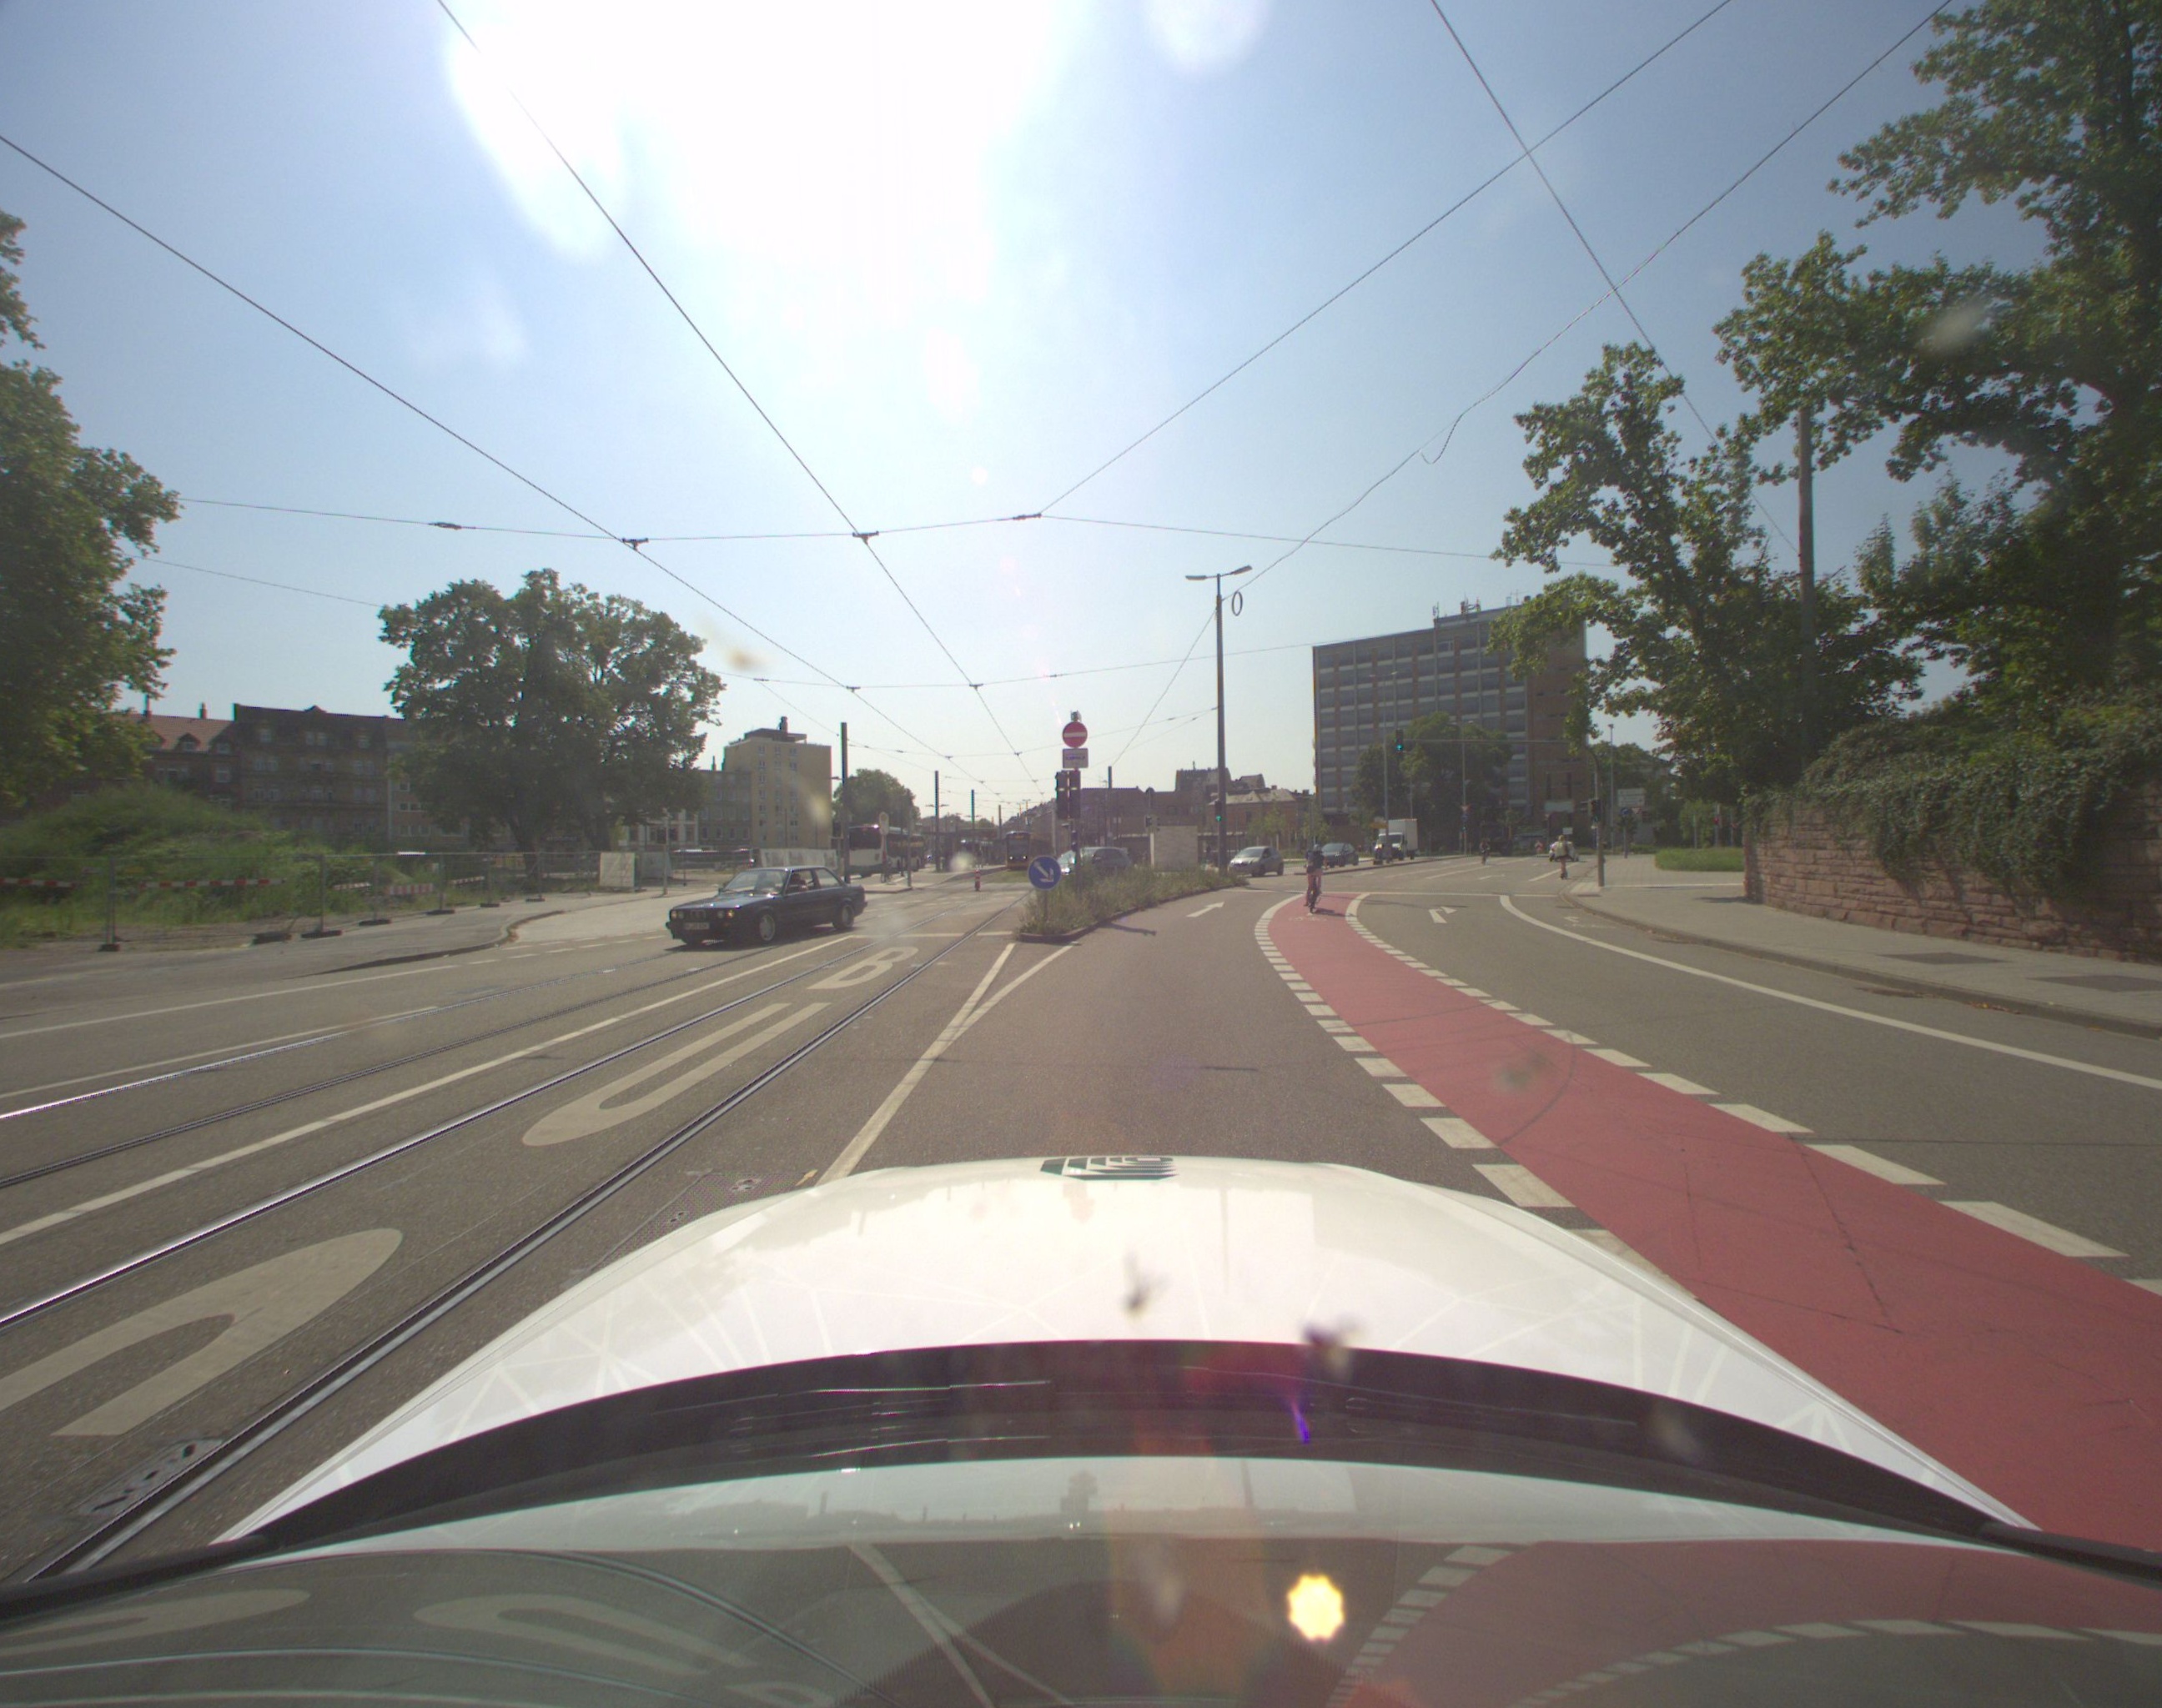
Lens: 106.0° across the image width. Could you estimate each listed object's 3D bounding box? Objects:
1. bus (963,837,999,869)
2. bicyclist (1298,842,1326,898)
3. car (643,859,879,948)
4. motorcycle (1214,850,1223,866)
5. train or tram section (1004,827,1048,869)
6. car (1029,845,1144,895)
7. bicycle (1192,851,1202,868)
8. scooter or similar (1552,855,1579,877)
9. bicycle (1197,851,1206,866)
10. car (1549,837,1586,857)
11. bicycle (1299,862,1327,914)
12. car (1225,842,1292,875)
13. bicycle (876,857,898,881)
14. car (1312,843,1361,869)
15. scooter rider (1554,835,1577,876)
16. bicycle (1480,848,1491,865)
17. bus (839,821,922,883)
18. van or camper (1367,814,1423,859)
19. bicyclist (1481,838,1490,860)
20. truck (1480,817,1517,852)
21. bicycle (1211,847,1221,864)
[{"bbox_3d":[-12.280,-0.158,100.924,2.699,3.727,10.424,-1,0,2],"label":"bus"},{"bbox_3d":[5.652,0.381,19.905,0.598,1.335,0.663,-1,0,17],"label":"bicyclist"},{"bbox_3d":[-5.851,0.831,15.619,1.675,1.378,4.638,-1,0,16],"label":"car"},{"bbox_3d":[11.064,0.330,65.510,0.600,1.210,2.261,-1,0,11],"label":"motorcycle"},{"bbox_3d":[-5.058,-0.502,78.348,2.847,3.548,17.741,-1,0,0],"label":"train or tram section"},{"bbox_3d":[0.313,0.514,29.157,1.754,1.610,4.703,-1,0,34],"label":"car"},{"bbox_3d":[8.612,0.403,60.232,0.600,1.210,1.816,-1,0,11],"label":"bicycle"},{"bbox_3d":[21.235,0.519,35.674,0.765,0.926,1.630,0,1,39],"label":"scooter or similar"},{"bbox_3d":[9.913,0.360,66.843,0.600,1.210,1.816,-1,0,11],"label":"bicycle"},{"bbox_3d":[36.159,-0.502,60.524,1.824,1.391,4.026,-1,0,38],"label":"car"},{"bbox_3d":[5.685,0.802,19.910,0.599,1.163,1.818,-1,0,16],"label":"bicycle"},{"bbox_3d":[9.051,0.201,41.336,1.634,1.530,4.353,-1,0,37],"label":"car"},{"bbox_3d":[-9.978,0.758,41.910,0.604,1.222,1.707,-1,0,5],"label":"bicycle"},{"bbox_3d":[15.873,0.103,50.494,1.680,1.530,4.210,-1,0,35],"label":"car"},{"bbox_3d":[21.274,0.059,35.743,0.754,1.775,0.558,-1,0,39],"label":"scooter rider"},{"bbox_3d":[26.709,0.153,53.775,0.440,1.116,1.455,-2,0,34],"label":"bicycle"},{"bbox_3d":[-13.317,-0.130,55.200,2.948,3.774,10.595,-1,0,0],"label":"bus"},{"bbox_3d":[24.888,-1.345,64.348,2.376,3.306,7.236,-1,0,35],"label":"van or camper"},{"bbox_3d":[26.749,-0.317,53.854,0.445,1.421,0.499,-2,0,34],"label":"bicyclist"},{"bbox_3d":[38.525,-1.740,75.081,2.670,2.989,6.003,-1,0,30],"label":"truck"},{"bbox_3d":[9.912,0.125,59.865,0.600,1.210,1.816,-1,0,11],"label":"bicycle"}]
